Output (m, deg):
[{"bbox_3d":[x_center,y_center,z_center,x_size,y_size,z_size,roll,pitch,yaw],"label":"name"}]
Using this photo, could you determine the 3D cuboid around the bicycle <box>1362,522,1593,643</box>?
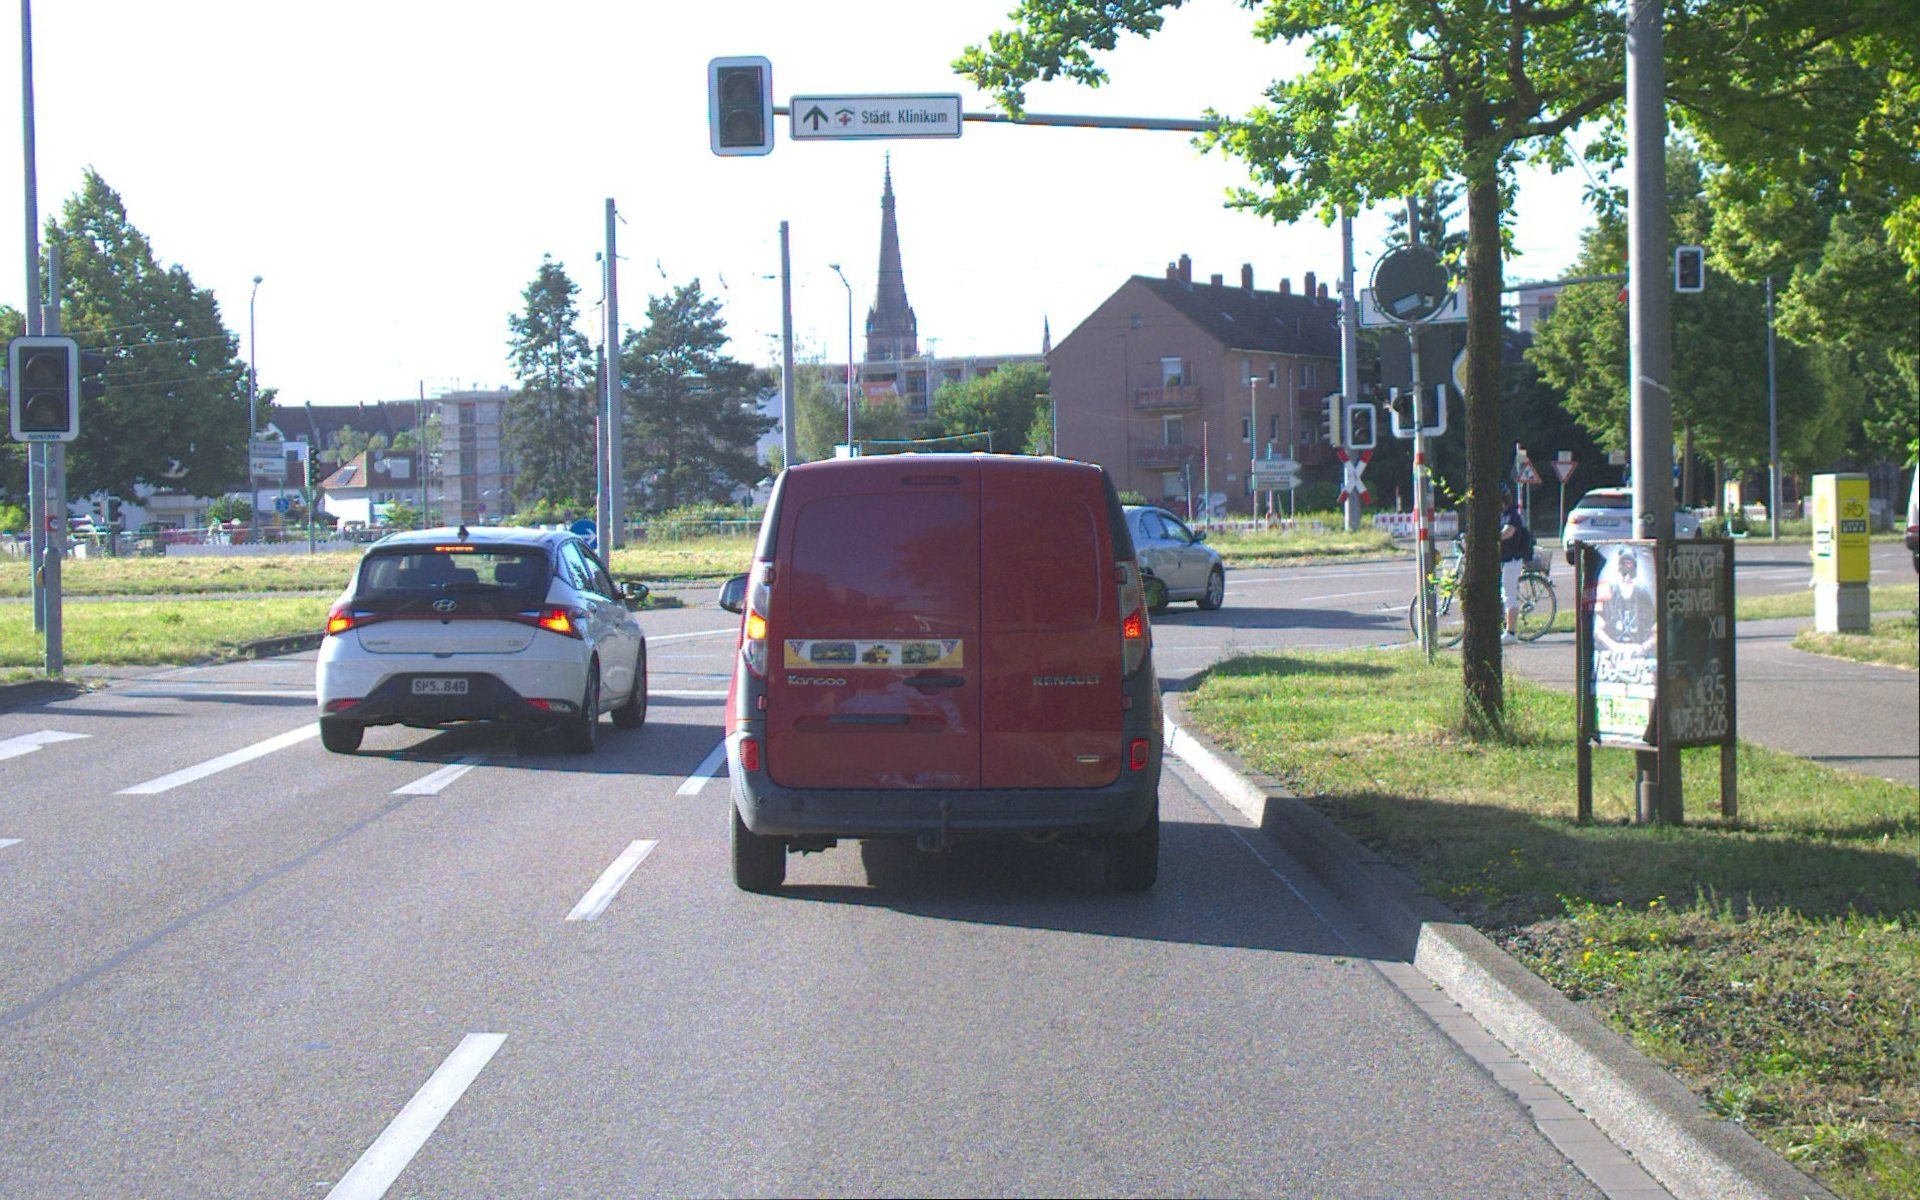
[{"bbox_3d":[5.401,-0.184,35.867,2.209,1.151,0.876,-3,1,-23],"label":"bicycle"}]

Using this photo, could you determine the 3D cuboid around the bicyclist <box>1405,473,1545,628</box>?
[{"bbox_3d":[5.369,-0.512,35.850,1.084,1.556,0.876,-3,0,-23],"label":"bicyclist"}]

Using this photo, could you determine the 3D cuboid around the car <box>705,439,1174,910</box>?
[{"bbox_3d":[-0.060,0.248,15.206,1.802,1.807,3.810,0,1,1],"label":"car"}]

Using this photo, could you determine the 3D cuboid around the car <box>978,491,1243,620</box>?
[{"bbox_3d":[2.068,-0.622,45.817,1.996,1.569,4.403,0,2,24],"label":"car"}]

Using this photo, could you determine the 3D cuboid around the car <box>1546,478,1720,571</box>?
[{"bbox_3d":[12.655,-1.435,64.447,1.996,1.633,4.402,0,2,28],"label":"car"}]

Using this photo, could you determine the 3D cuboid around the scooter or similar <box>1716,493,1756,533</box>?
[{"bbox_3d":[25.226,-2.824,111.806,0.443,1.243,1.264,0,-1,-39],"label":"scooter or similar"}]

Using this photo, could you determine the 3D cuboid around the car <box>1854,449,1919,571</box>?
[{"bbox_3d":[15.679,-1.439,55.403,1.997,1.890,4.751,-1,1,9],"label":"car"}]

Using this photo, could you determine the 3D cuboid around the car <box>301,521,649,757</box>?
[{"bbox_3d":[-3.199,0.204,23.340,1.802,1.456,3.810,0,1,0],"label":"car"}]
